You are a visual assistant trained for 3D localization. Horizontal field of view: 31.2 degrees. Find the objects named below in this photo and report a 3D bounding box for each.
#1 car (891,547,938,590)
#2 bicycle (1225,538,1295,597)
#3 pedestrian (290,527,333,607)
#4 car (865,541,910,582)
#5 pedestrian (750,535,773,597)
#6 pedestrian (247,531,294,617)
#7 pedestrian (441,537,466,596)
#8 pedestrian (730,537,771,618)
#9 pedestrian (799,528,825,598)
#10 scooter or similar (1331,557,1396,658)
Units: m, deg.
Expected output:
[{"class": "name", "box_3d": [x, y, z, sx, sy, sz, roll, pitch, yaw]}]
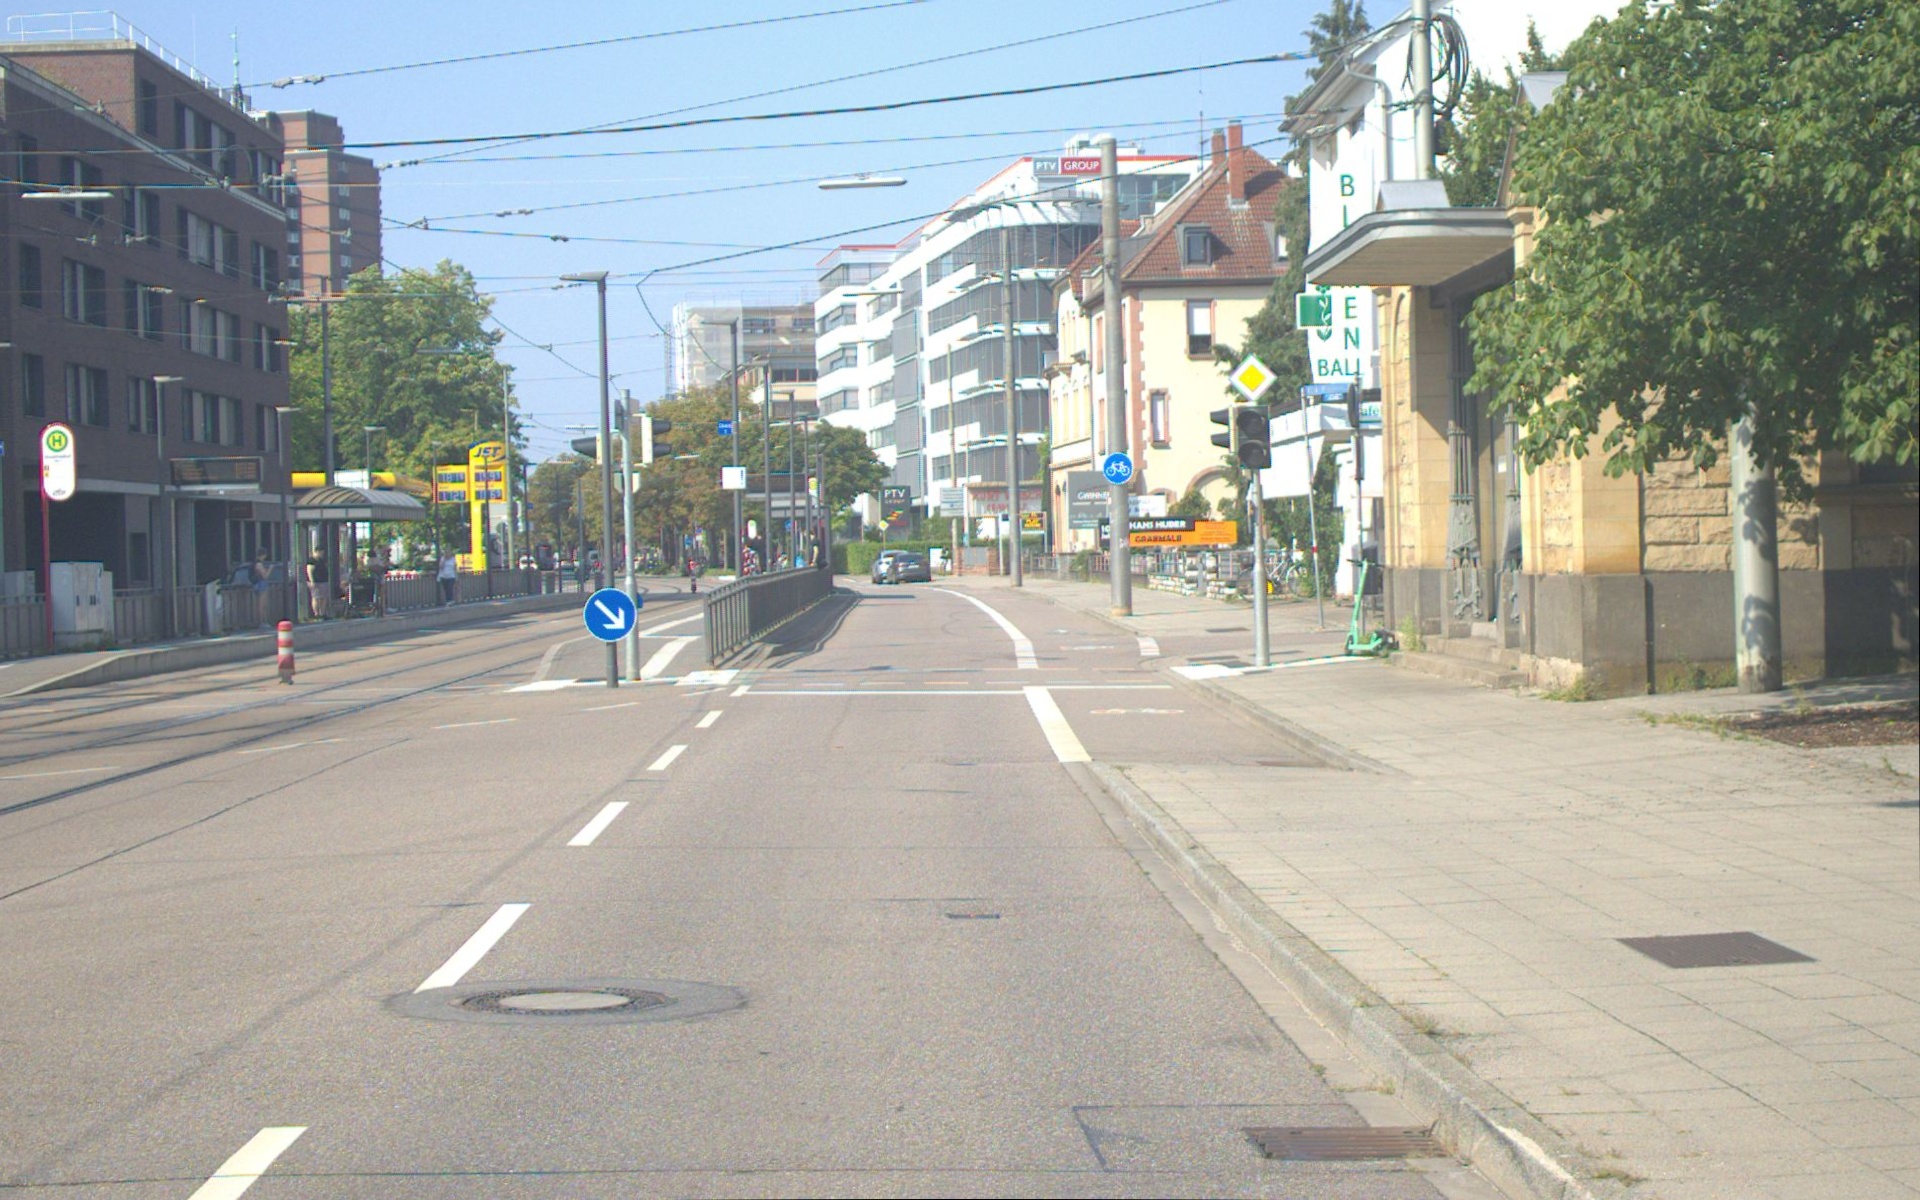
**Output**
[{"class": "car", "box_3d": [-2.128, -1.490, 161.504, 2.011, 1.852, 4.000, -3, 1, 1]}, {"class": "bicycle", "box_3d": [6.210, -0.672, 71.347, 0.731, 1.129, 2.840, -5, 1, -8]}, {"class": "pedestrian", "box_3d": [-14.488, -0.750, 76.824, 0.708, 1.741, 0.799, -3, 1, 0]}, {"class": "car", "box_3d": [-3.522, -1.883, 167.565, 2.011, 1.852, 4.000, -3, 1, 1]}, {"class": "pedestrian", "box_3d": [-5.485, -0.945, 95.146, 0.536, 1.697, 0.582, -3, 1, -3]}, {"class": "pedestrian", "box_3d": [-14.075, -0.531, 70.181, 0.708, 1.717, 0.799, -3, 1, 0]}, {"class": "pedestrian", "box_3d": [-13.469, -0.882, 91.400, 0.532, 1.525, 0.702, -3, 1, -7]}, {"class": "pedestrian", "box_3d": [-4.470, -0.486, 73.538, 0.720, 1.697, 0.884, -3, 1, 0]}, {"class": "pedestrian", "box_3d": [-3.687, -0.918, 85.663, 0.536, 1.697, 0.582, -3, 1, -3]}, {"class": "scooter or similar", "box_3d": [4.724, 0.076, 40.271, 0.523, 1.129, 1.511, -3, 1, 0]}]
